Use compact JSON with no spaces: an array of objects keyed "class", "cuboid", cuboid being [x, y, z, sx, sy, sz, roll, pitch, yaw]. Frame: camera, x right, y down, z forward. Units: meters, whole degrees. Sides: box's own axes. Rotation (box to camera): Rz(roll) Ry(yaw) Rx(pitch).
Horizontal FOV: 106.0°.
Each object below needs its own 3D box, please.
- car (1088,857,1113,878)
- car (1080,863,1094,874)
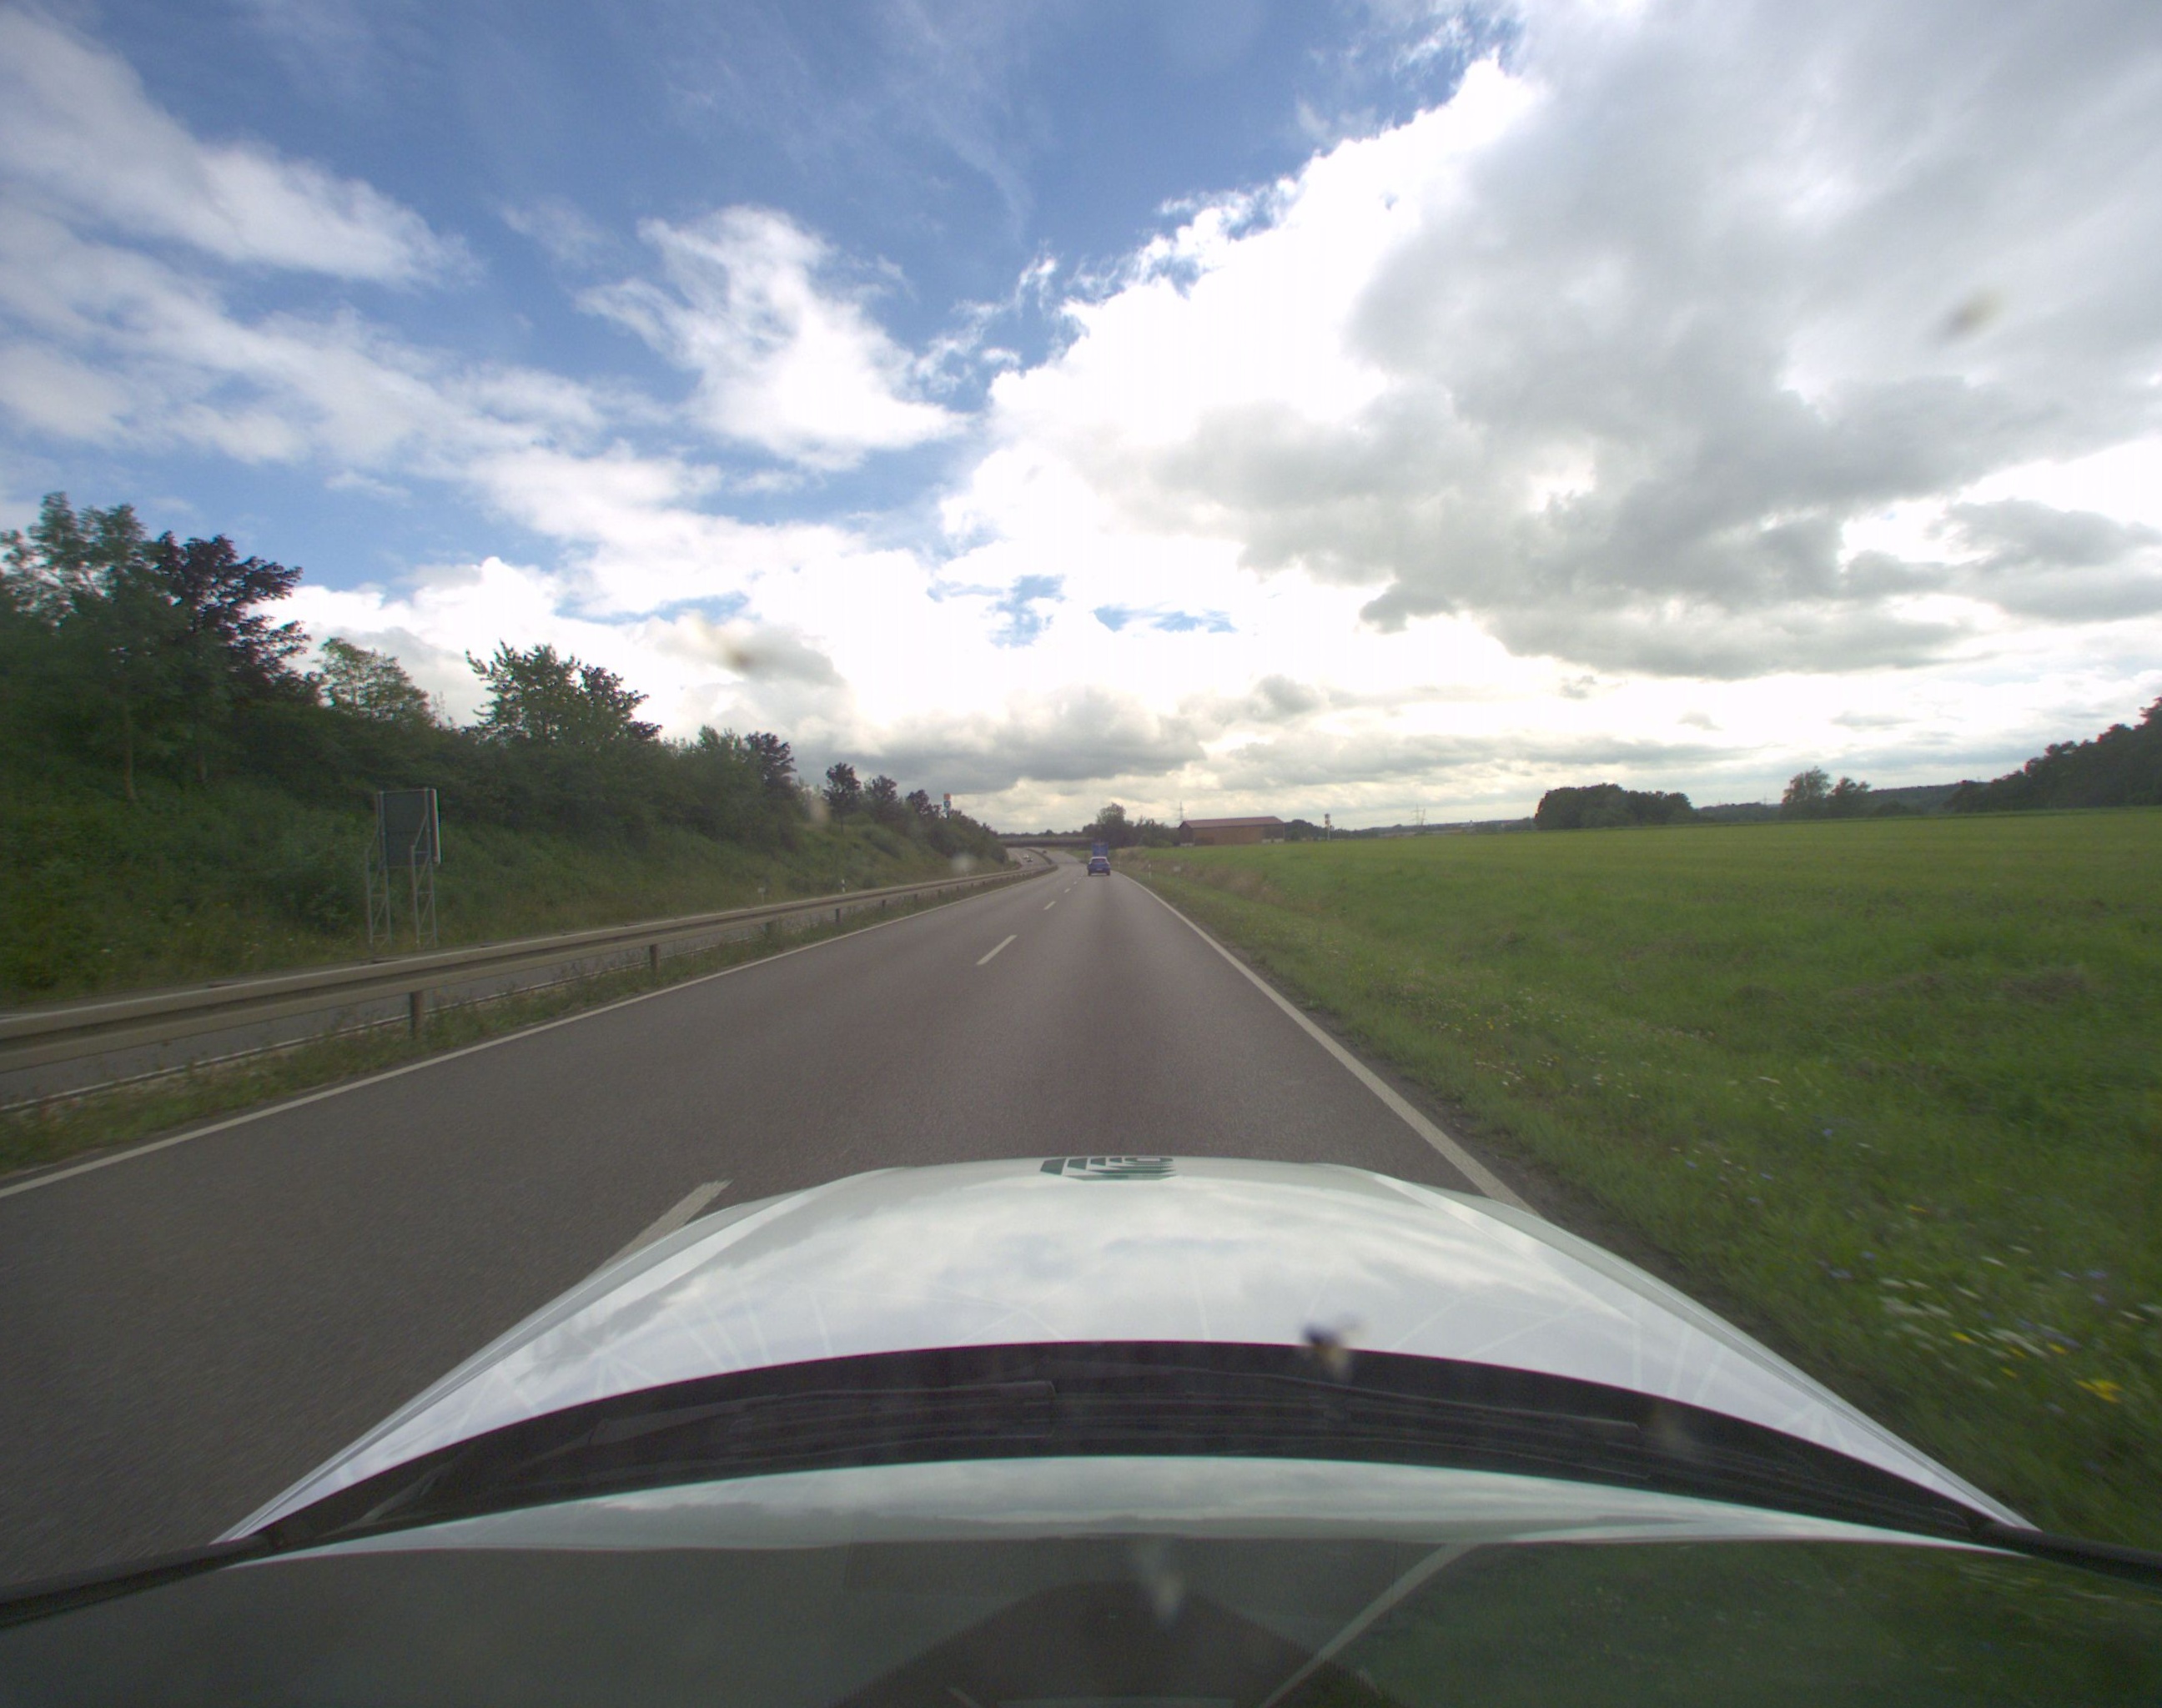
[{"class":"car","cuboid":[1.687,1.177,71.168,2.026,1.660,4.543,-1,1,0]},{"class":"car","cuboid":[0.890,2.187,125.762,1.913,1.453,4.359,-3,1,-3]}]
